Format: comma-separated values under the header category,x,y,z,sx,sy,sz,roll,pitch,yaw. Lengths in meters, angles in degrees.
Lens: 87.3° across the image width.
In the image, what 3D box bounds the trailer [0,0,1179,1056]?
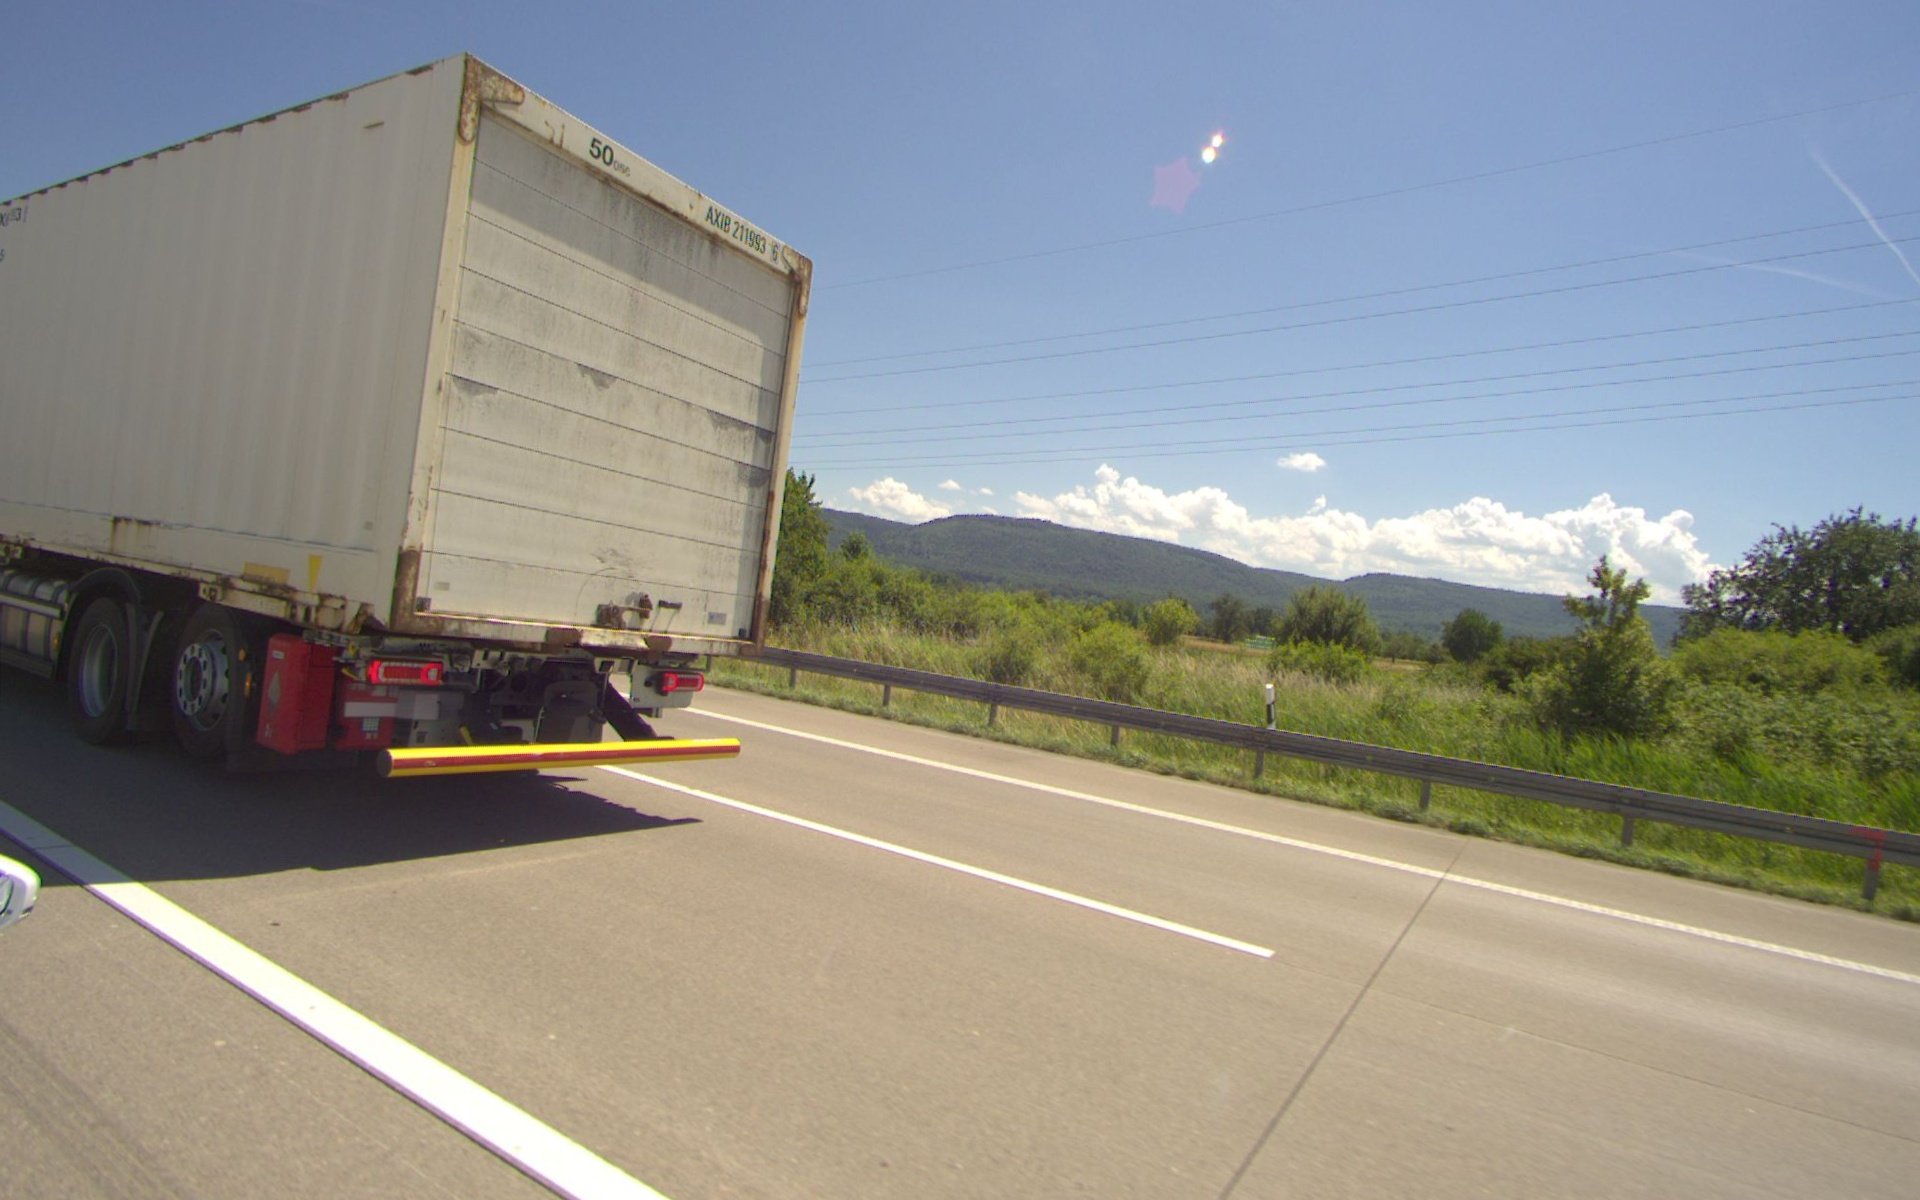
category,x,y,z,sx,sy,sz,roll,pitch,yaw
trailer,-4.002,-0.790,7.126,10.200,3.923,2.586,7,-1,31

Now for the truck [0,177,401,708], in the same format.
category,x,y,z,sx,sy,sz,roll,pitch,yaw
truck,-8.335,-1.282,9.783,4.901,3.923,2.586,7,-1,31
